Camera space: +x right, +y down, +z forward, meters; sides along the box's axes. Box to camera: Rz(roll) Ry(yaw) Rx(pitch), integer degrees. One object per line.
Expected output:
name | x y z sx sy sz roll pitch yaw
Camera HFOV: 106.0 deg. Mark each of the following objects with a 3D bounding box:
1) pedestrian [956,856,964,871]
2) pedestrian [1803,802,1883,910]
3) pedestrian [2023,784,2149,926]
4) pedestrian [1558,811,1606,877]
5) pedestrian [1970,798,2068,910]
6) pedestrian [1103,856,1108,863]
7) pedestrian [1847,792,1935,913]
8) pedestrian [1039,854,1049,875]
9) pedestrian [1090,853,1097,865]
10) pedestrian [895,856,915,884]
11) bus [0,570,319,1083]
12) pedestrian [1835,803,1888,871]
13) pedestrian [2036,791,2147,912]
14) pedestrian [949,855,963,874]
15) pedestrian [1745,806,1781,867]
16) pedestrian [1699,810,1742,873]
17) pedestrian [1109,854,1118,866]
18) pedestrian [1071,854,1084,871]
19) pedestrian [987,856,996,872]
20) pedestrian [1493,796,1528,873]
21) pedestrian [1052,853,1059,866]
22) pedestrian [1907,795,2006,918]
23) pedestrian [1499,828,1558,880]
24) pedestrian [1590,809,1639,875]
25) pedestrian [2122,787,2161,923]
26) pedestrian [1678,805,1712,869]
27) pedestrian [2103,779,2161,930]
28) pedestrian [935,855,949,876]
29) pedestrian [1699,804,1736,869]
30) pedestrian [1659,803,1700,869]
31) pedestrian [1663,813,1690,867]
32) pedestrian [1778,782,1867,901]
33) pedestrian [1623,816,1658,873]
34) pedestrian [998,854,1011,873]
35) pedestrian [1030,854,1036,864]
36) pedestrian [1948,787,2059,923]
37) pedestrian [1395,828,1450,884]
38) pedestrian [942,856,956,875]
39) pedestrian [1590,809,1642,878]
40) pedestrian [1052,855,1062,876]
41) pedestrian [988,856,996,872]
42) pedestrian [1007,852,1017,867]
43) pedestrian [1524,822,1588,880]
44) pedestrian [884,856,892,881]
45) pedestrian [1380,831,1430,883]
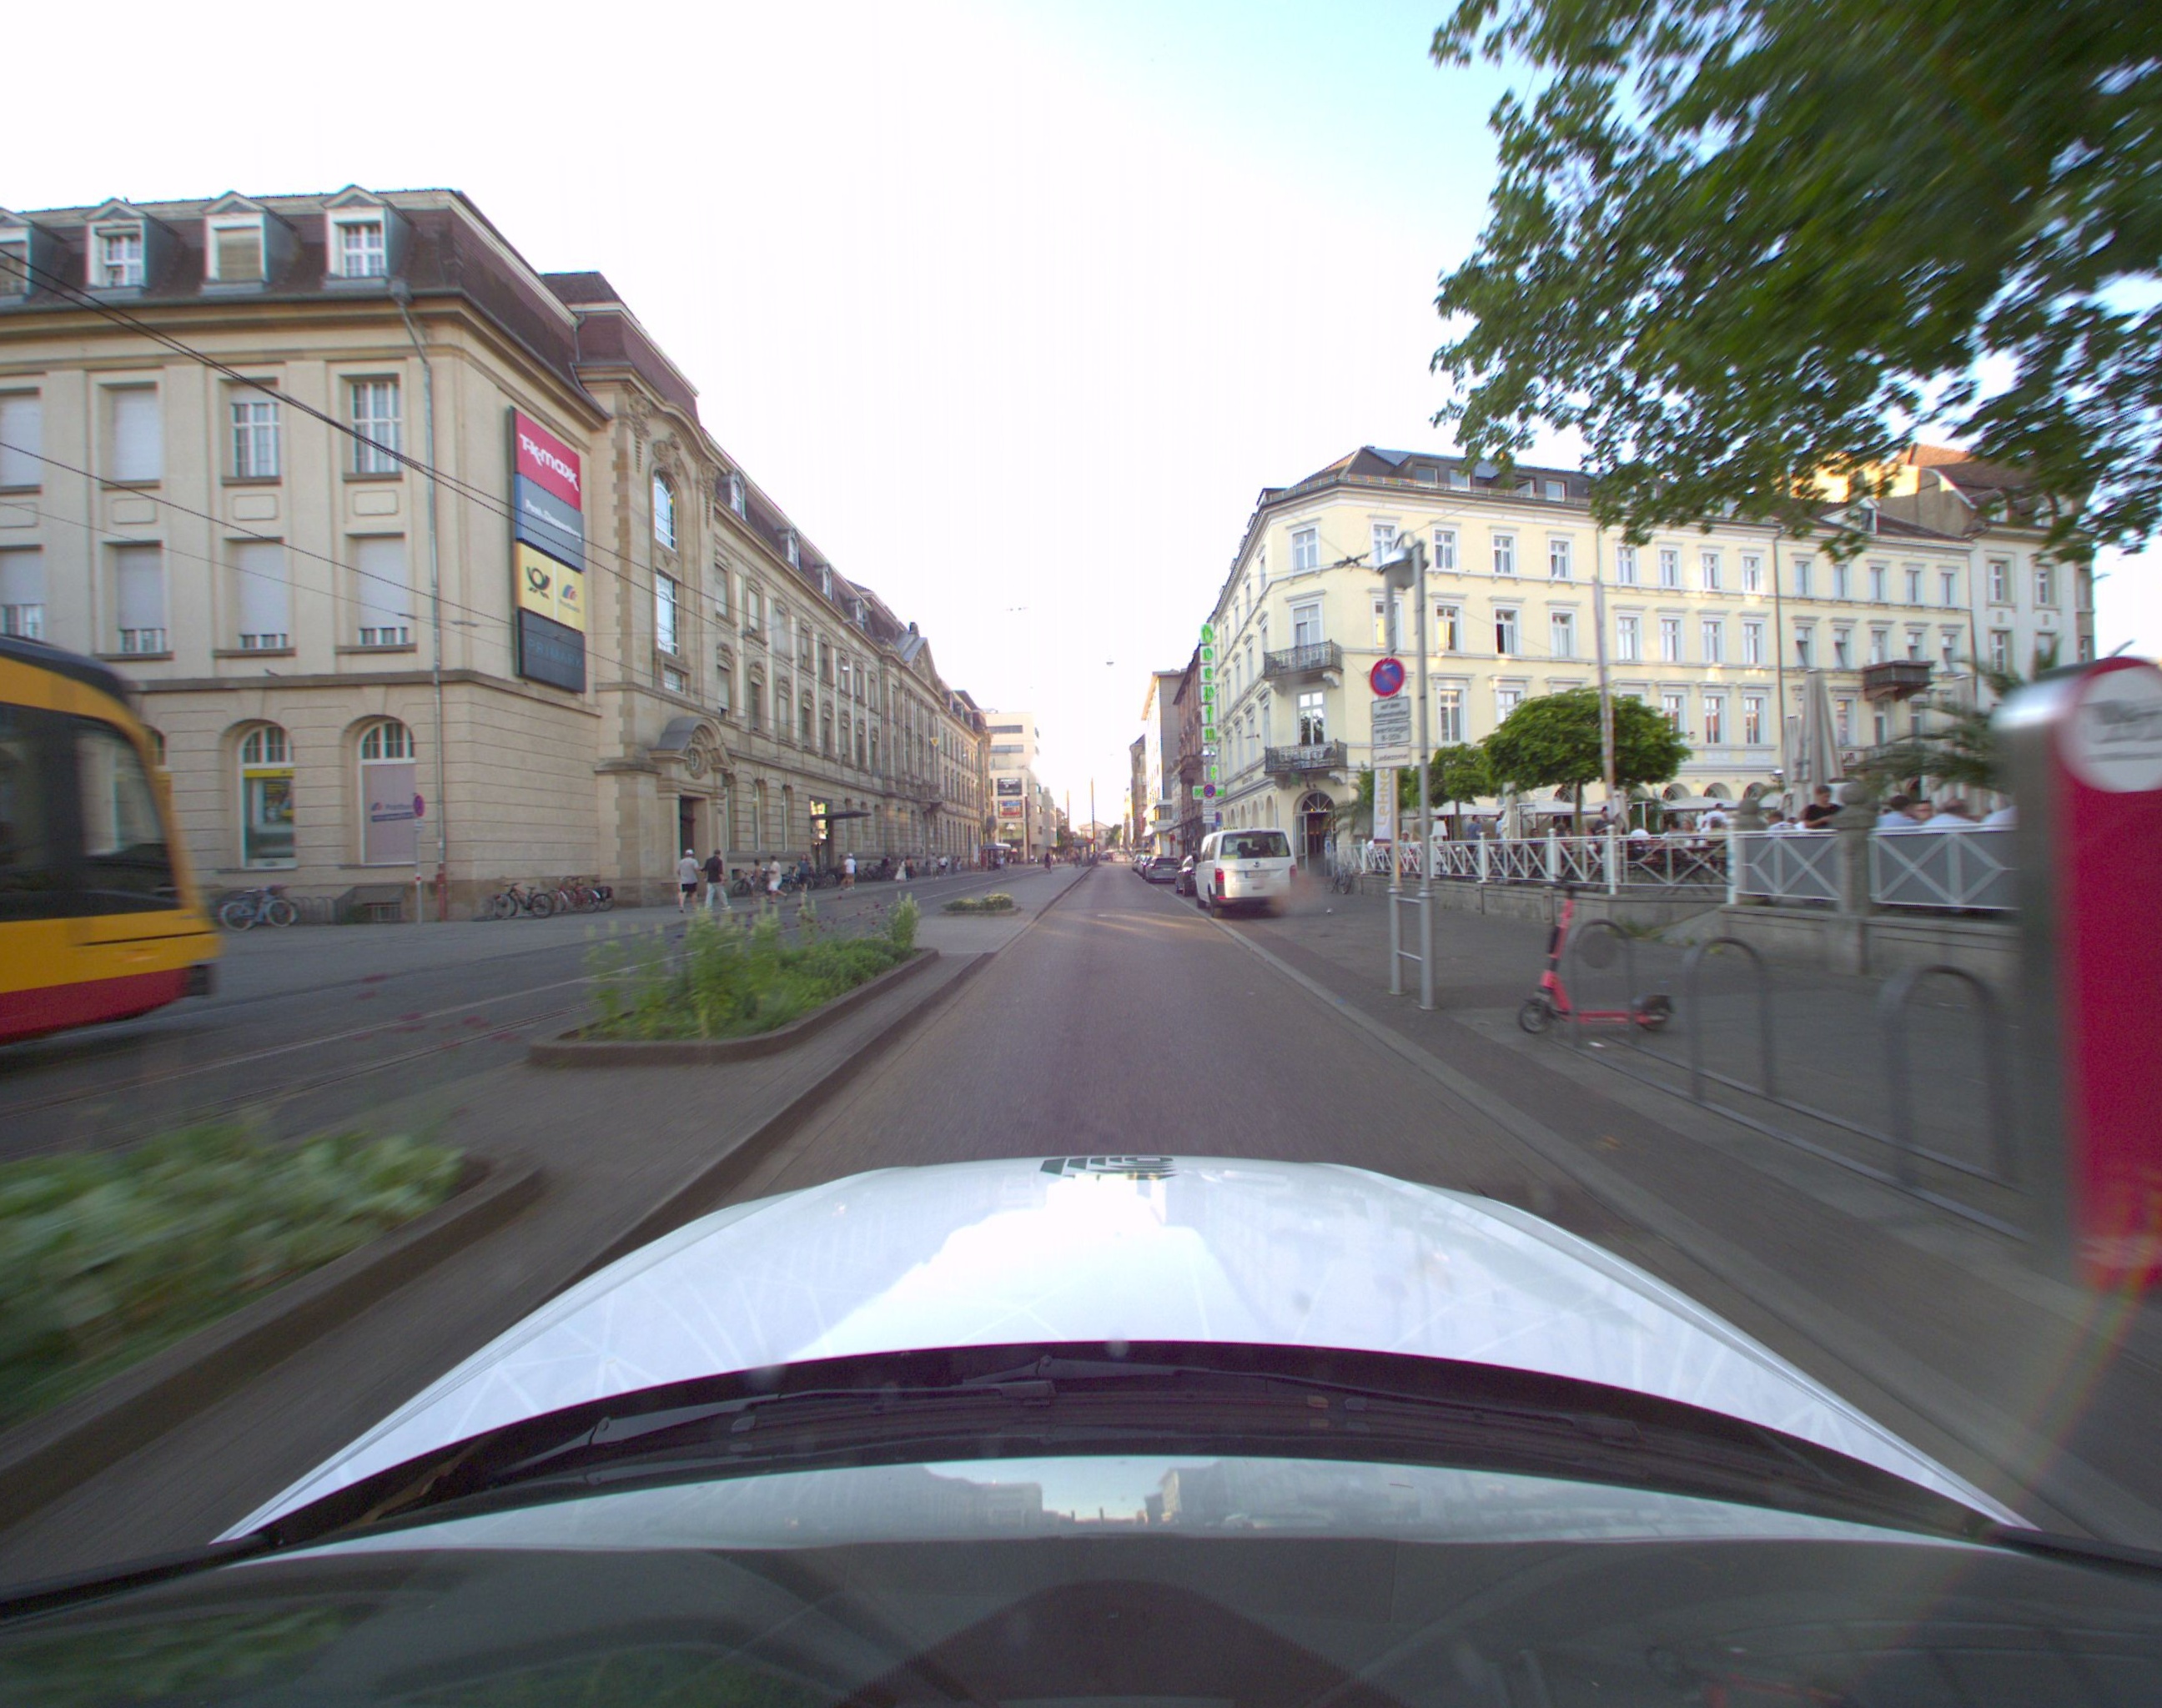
pedestrian | -12.435 0.968 83.752 0.626 1.429 0.712 -2 0 8
pedestrian | 9.518 0.034 10.193 0.470 1.305 0.542 -3 -2 16
pedestrian | 9.514 0.020 7.732 0.470 1.285 0.542 -3 -2 16
pedestrian | 12.876 -0.251 20.952 0.754 1.643 0.660 -2 -2 3
pedestrian | 10.855 0.013 9.440 0.470 1.242 0.542 -3 -2 16
pedestrian | 6.319 1.473 210.206 0.773 1.734 0.818 -4 -3 42
pedestrian | 9.499 -0.007 9.572 0.470 1.364 0.542 -3 -2 16
pedestrian | -2.851 0.800 62.066 0.688 1.636 0.580 -1 0 -6
pedestrian | 1.525 0.604 99.460 0.611 1.523 0.619 -2 -2 -7
pedestrian | -10.841 0.982 50.153 1.048 1.686 0.905 -2 -2 -8
bus | -9.144 -0.143 2.075 2.811 3.612 11.829 -2 0 2
pedestrian | 17.077 -0.365 17.834 0.508 1.439 0.578 -2 -2 1
pedestrian | 10.910 -0.018 8.809 0.470 1.242 0.542 -3 -2 16
pedestrian | -10.874 0.918 70.987 1.051 1.686 0.903 -2 0 -17
pedestrian | 17.876 -0.456 21.346 0.514 1.548 0.571 0 -3 -38
pedestrian | 14.894 -0.284 18.979 0.578 1.439 0.508 -1 -2 -22
pedestrian | 5.346 1.002 134.579 1.231 1.928 1.017 -1 0 -14
pedestrian | -0.369 0.865 83.346 1.041 1.686 0.911 -3 -2 13
pedestrian | -9.275 1.036 84.500 0.777 1.580 0.676 -2 0 -10
pedestrian | 13.086 -0.577 24.839 0.614 2.304 0.577 -1 -2 -20
pedestrian | -3.984 0.815 126.081 0.907 1.928 0.847 -2 0 -14
pedestrian | 9.569 0.037 8.923 0.470 1.285 0.542 -3 -2 16
pedestrian | 11.394 0.005 20.786 0.960 1.267 0.906 -2 -2 1
pedestrian | 13.725 -0.289 20.960 0.754 1.643 0.660 -2 -2 4
pedestrian | 10.493 0.002 7.725 0.470 1.285 0.542 -3 -2 16
pedestrian | 15.407 -0.410 20.447 0.505 1.548 0.581 -3 -2 27
pedestrian | 9.528 0.001 7.106 0.470 1.285 0.542 -3 -2 16
pedestrian | -11.801 0.969 69.168 1.051 1.686 0.903 -1 0 -17
pedestrian | 17.327 -0.466 22.182 0.513 1.712 0.572 -1 -2 -30
pedestrian | 14.492 -0.425 19.733 0.572 1.548 0.514 -2 -2 12
pedestrian | 17.392 -0.406 23.782 0.505 1.548 0.581 -3 -2 31
pedestrian | 10.218 -0.160 11.246 0.614 1.571 0.633 -3 -2 16
pedestrian | 15.775 -0.260 22.974 0.508 1.548 0.578 -2 -2 4
pedestrian | -6.726 0.845 71.760 1.045 1.686 0.908 -1 0 1
pedestrian | -9.319 0.965 157.968 0.845 1.928 0.909 -2 0 2
pedestrian | 9.428 0.016 8.345 0.470 1.330 0.542 -3 -2 16
pedestrian | 8.390 0.055 20.040 0.899 1.314 0.967 -2 -2 1
pedestrian | -12.478 1.087 77.048 1.043 1.686 0.793 -2 0 7
pedestrian | 13.114 -0.245 19.985 0.754 1.643 0.659 -2 -2 2
pedestrian | -1.816 0.886 62.344 0.670 1.636 0.761 -1 0 -6
pedestrian | -9.133 1.021 83.633 0.773 1.580 0.676 -2 0 -10
pedestrian | -9.174 0.778 108.196 0.896 1.928 0.856 -2 0 33
pedestrian | 11.381 -0.051 19.541 0.960 1.336 0.906 -2 -2 1
pedestrian | -13.147 0.996 55.411 0.517 1.672 0.480 -1 0 -14
pedestrian | 8.413 0.087 21.186 0.899 1.306 0.967 -2 -2 1
